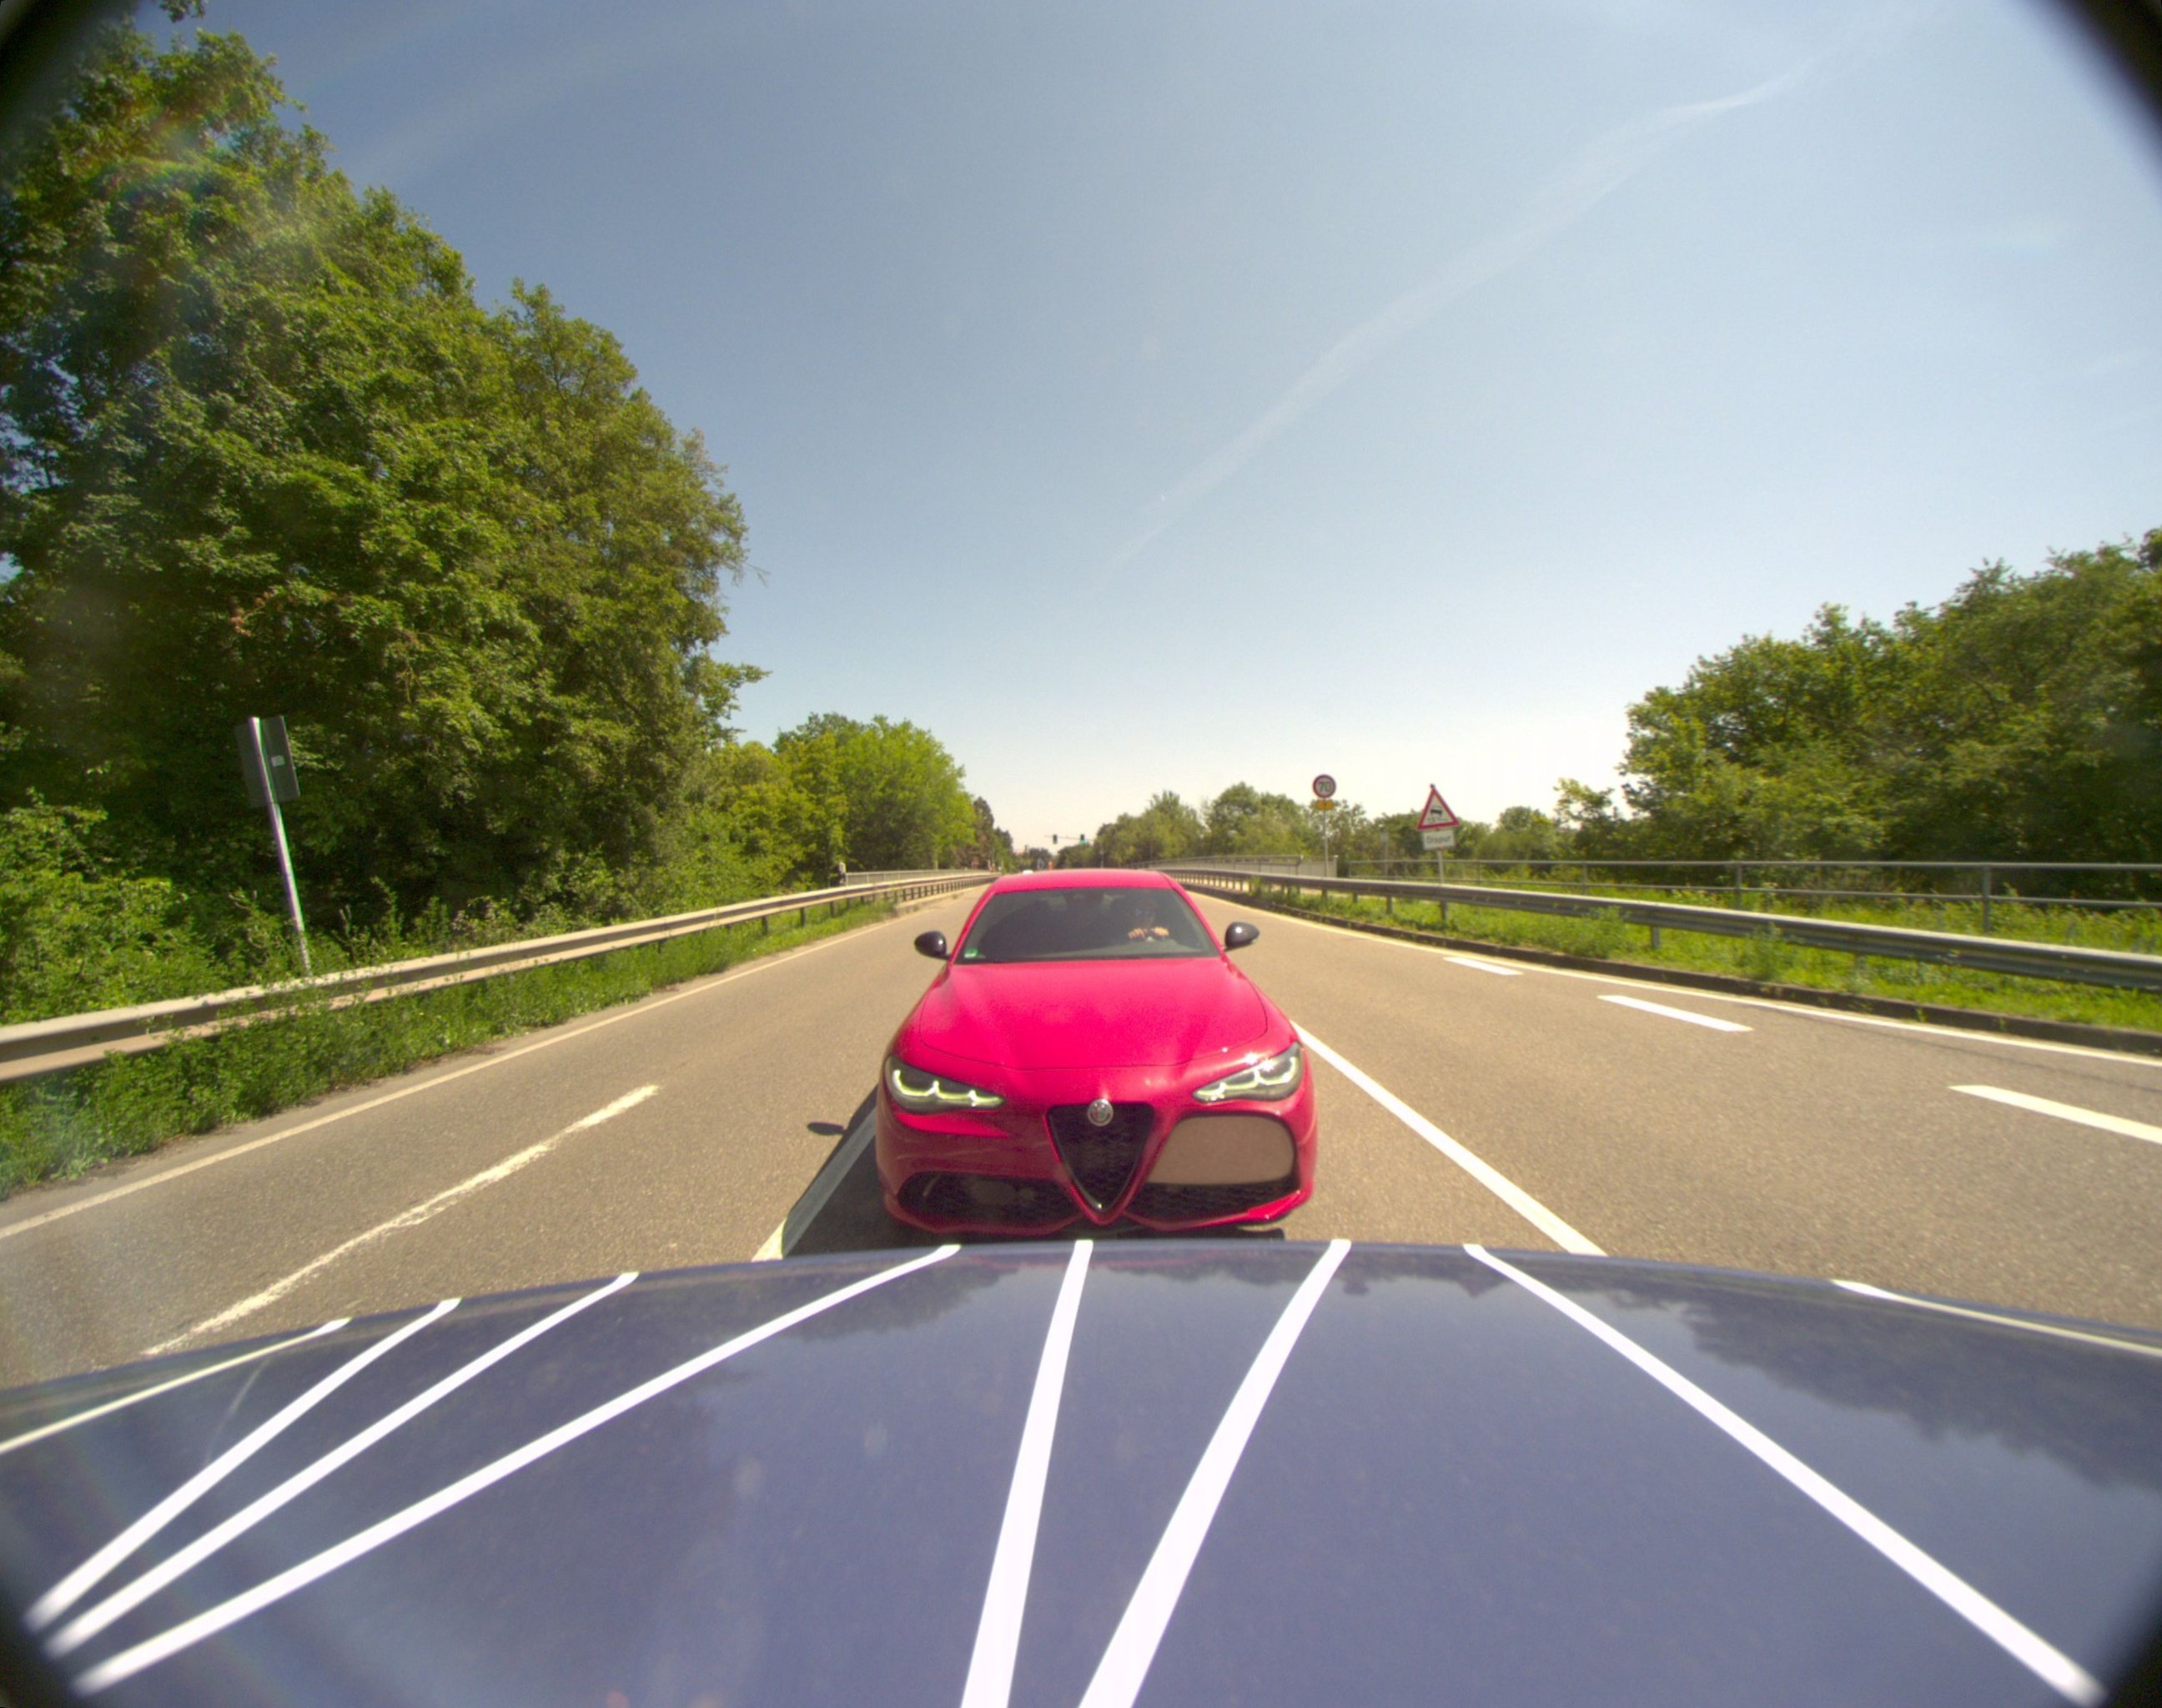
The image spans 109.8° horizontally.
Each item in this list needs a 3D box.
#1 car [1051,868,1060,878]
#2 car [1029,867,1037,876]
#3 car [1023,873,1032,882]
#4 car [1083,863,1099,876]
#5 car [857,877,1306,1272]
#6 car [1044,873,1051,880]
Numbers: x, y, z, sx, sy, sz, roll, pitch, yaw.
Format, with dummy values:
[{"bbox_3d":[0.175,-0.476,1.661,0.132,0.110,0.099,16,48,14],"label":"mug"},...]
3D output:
[{"bbox_3d":[-5.955,4.421,178.452,1.996,2.354,5.180,-2,0,-3],"label":"car"},{"bbox_3d":[-8.864,3.227,140.628,1.476,1.565,3.487,-1,0,-4],"label":"car"},{"bbox_3d":[-9.320,4.105,133.027,1.416,1.499,3.315,-1,0,-3],"label":"car"},{"bbox_3d":[1.107,1.744,85.864,1.649,1.410,3.765,-2,0,-1],"label":"car"},{"bbox_3d":[-0.036,0.957,5.234,1.801,1.448,4.284,-1,0,-1],"label":"car"},{"bbox_3d":[-9.473,6.458,215.347,1.848,1.758,3.999,-1,0,-1],"label":"car"}]
